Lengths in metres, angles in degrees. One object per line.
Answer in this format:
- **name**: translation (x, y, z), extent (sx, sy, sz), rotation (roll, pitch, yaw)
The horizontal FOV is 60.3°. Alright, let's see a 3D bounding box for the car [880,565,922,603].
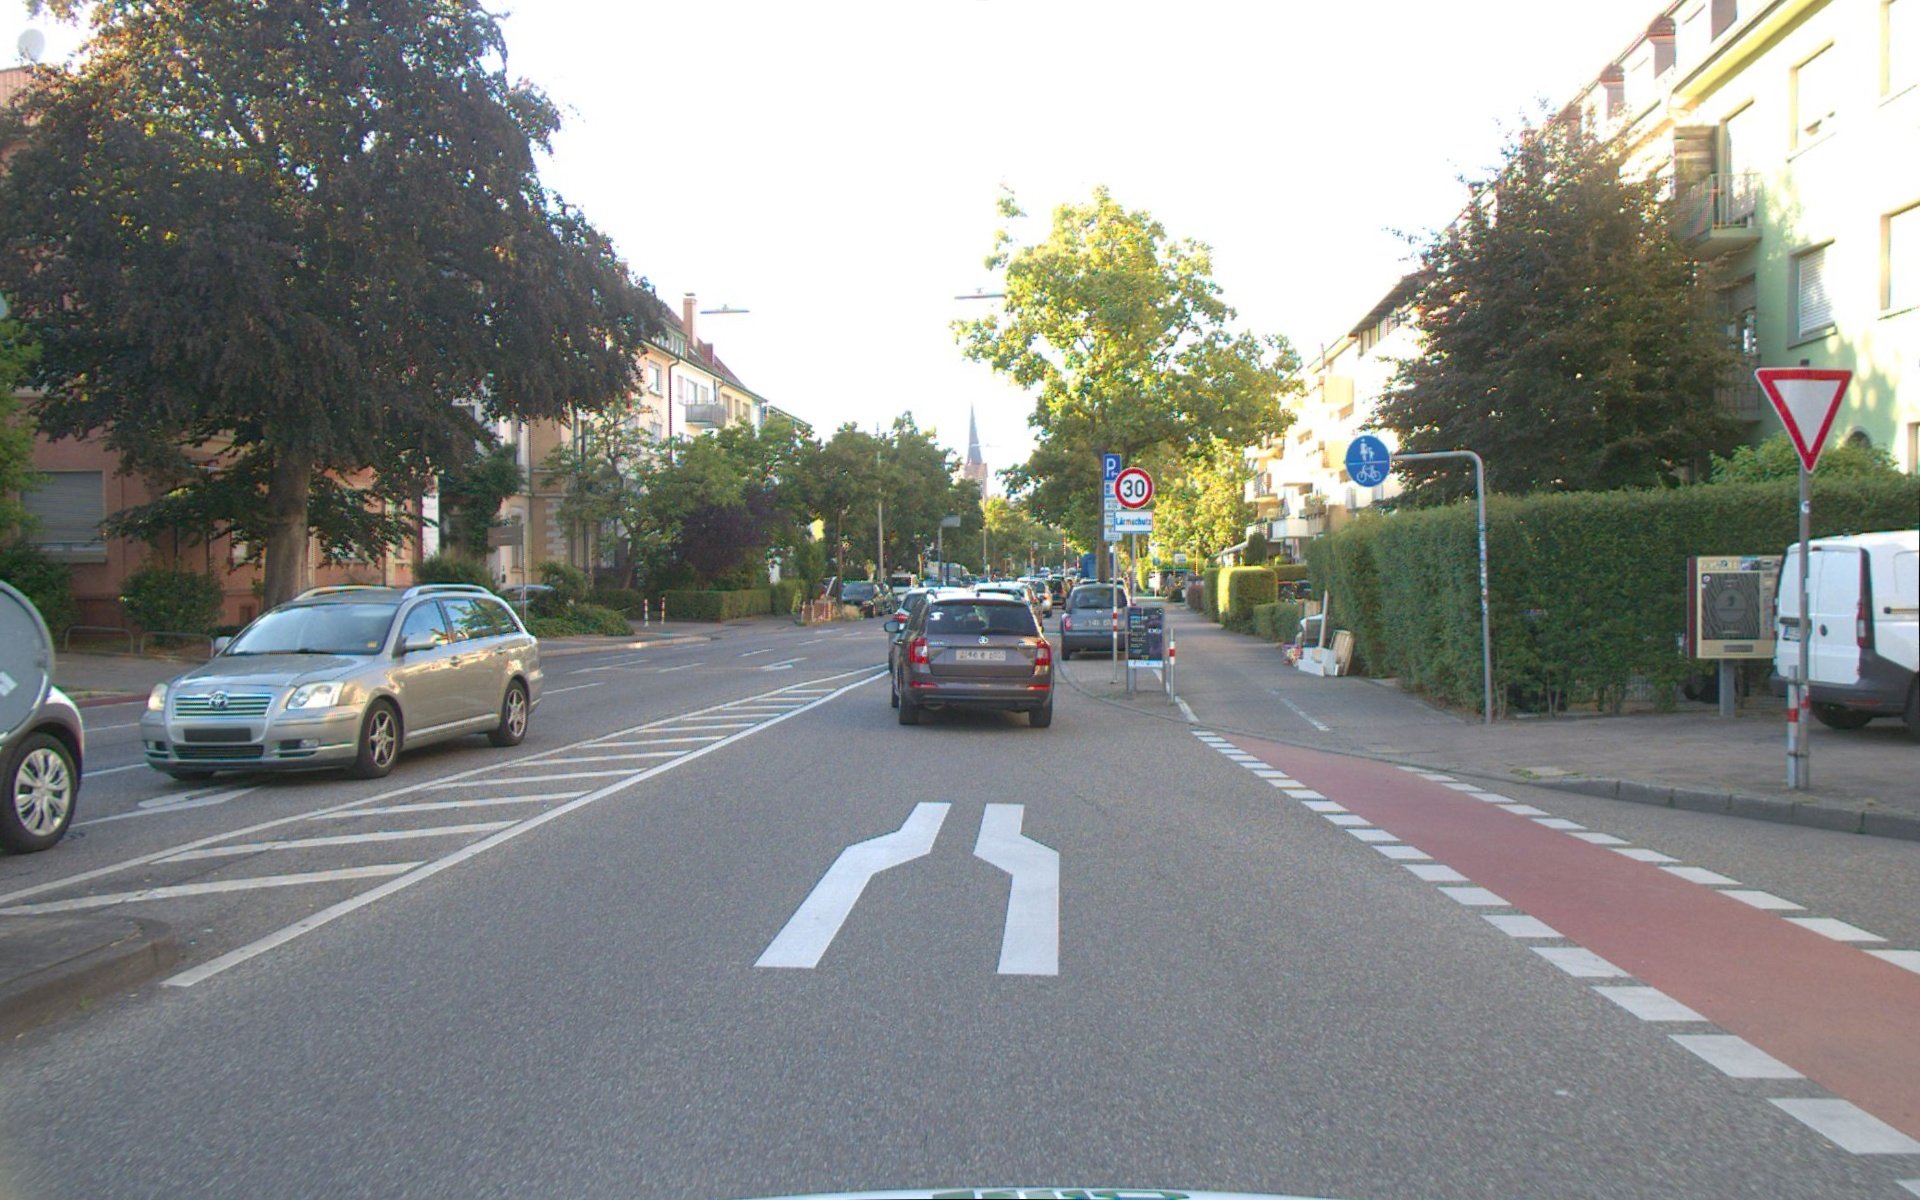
- **car**: translation (-3.124, -0.889, 88.545), extent (1.732, 1.952, 4.463), rotation (0, 2, 5)

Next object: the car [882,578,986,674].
- **car**: translation (-0.401, 0.410, 29.439), extent (1.694, 1.519, 3.952), rotation (-1, 2, 1)

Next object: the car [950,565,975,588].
- **car**: translation (0.221, -1.922, 132.235), extent (1.713, 1.770, 3.593), rotation (0, 2, 5)

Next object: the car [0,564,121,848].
- **car**: translation (-6.014, 0.596, 7.907), extent (1.789, 1.486, 3.905), rotation (0, 2, 4)

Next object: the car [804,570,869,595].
- **car**: translation (-7.837, -1.105, 105.148), extent (3.904, 1.504, 2.001), rotation (0, 1, 1)

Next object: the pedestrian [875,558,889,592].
- **pedestrian**: translation (-4.823, -1.563, 102.632), extent (0.751, 2.048, 0.976), rotation (0, 1, 4)

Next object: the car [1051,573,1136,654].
- **car**: translation (2.847, 0.245, 35.190), extent (1.696, 1.578, 3.649), rotation (0, 2, 5)

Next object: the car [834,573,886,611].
- **car**: translation (-4.395, -0.378, 73.076), extent (1.713, 1.529, 4.200), rotation (0, 2, 5)

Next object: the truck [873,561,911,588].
- **truck**: translation (-5.497, -2.059, 134.145), extent (2.852, 2.130, 1.547), rotation (0, 1, 4)

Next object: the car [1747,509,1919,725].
- **car**: translation (9.596, 0.104, 15.055), extent (4.002, 1.845, 1.862), rotation (-1, 1, 2)

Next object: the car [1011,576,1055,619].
- **car**: translation (3.053, -0.117, 68.895), extent (1.696, 1.680, 3.544), rotation (0, 2, 5)

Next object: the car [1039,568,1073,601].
- **car**: translation (5.061, -0.827, 86.771), extent (1.696, 1.680, 3.544), rotation (0, 2, 5)

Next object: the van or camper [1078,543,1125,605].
- **van or camper**: translation (6.479, -1.196, 75.943), extent (2.024, 2.722, 5.993), rotation (0, 1, 5)

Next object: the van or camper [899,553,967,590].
- **van or camper**: translation (-2.995, -3.166, 183.875), extent (7.480, 3.942, 2.001), rotation (-1, 1, 3)

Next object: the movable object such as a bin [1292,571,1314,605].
- **movable object such as a bin**: translation (10.422, -0.360, 50.266), extent (0.569, 1.020, 0.797), rotation (0, 1, 4)

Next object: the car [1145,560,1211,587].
- **car**: translation (15.941, -1.929, 120.959), extent (4.472, 1.925, 1.901), rotation (-1, 1, -23)

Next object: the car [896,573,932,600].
- **car**: translation (-2.640, -0.812, 95.954), extent (1.680, 1.445, 3.789), rotation (0, 2, 5)

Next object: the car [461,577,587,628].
- **car**: translation (-13.641, 0.074, 51.861), extent (3.425, 1.512, 1.816), rotation (-1, 1, 1)

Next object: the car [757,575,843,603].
- **car**: translation (-8.790, -0.615, 90.653), extent (4.623, 1.386, 1.997), rotation (-1, 1, -9)

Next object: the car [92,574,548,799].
- **car**: translation (-5.133, 0.583, 14.060), extent (1.789, 1.541, 4.607), rotation (0, 2, 4)

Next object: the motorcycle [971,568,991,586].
- **motorcycle**: translation (1.872, -2.030, 147.189), extent (0.759, 1.538, 2.003), rotation (-2, 2, -37)

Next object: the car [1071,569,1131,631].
- **car**: translation (4.171, -0.041, 49.019), extent (1.696, 1.680, 4.294), rotation (0, 2, 5)

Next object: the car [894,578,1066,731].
- **car**: translation (0.139, 0.545, 19.240), extent (1.695, 1.519, 3.948), rotation (-1, 2, -4)

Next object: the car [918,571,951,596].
- **car**: translation (-1.637, -1.071, 107.505), extent (1.680, 1.523, 4.251), rotation (0, 2, 5)
